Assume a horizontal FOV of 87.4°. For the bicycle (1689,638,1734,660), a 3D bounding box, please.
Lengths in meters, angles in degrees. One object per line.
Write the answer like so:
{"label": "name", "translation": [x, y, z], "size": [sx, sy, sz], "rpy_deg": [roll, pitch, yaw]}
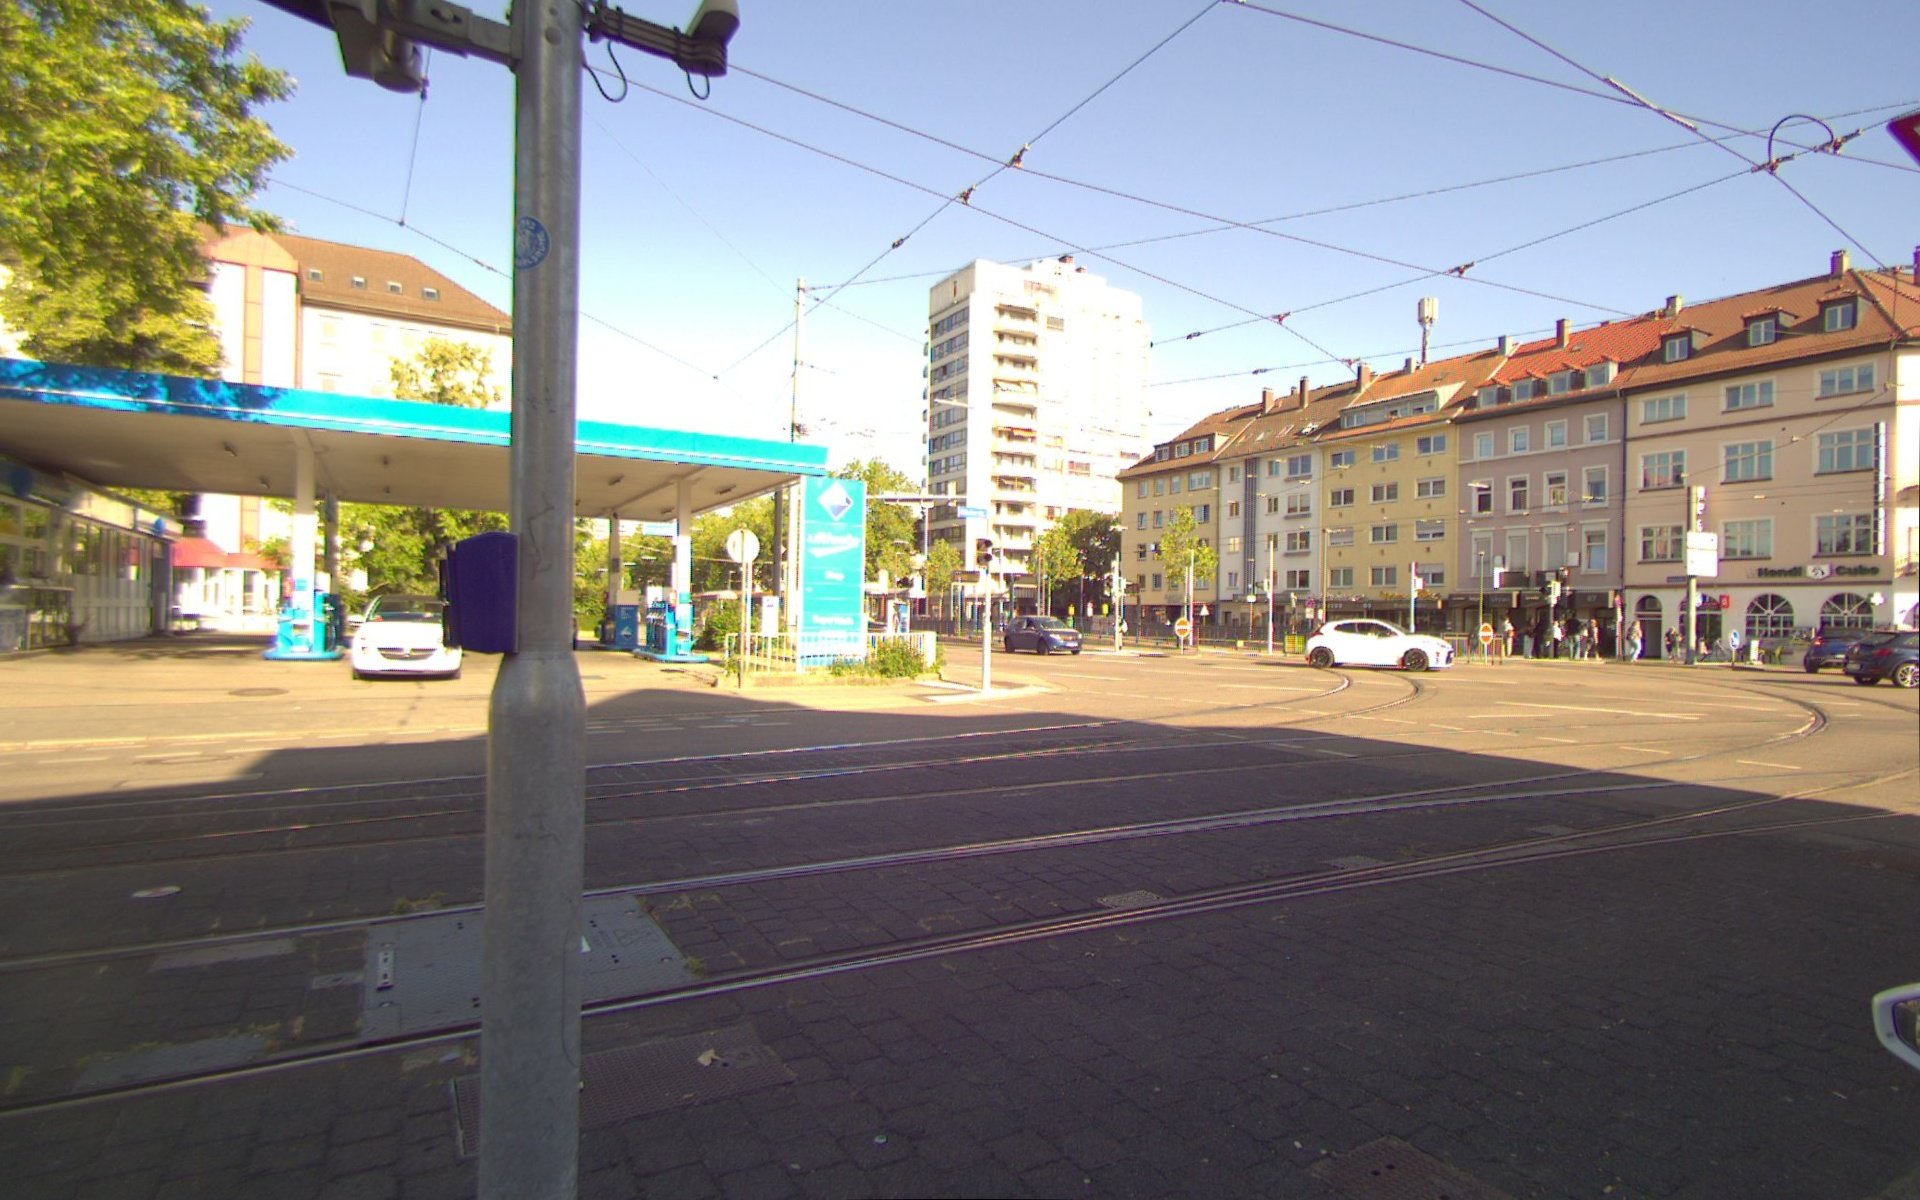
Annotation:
{"label": "bicycle", "translation": [37.833, 2.467, 50.597], "size": [0.603, 0.996, 1.693], "rpy_deg": [2, 0, -29]}

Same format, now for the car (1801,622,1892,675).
{"label": "car", "translation": [29.128, 1.550, 32.965], "size": [4.168, 1.596, 1.808], "rpy_deg": [1, -1, -42]}

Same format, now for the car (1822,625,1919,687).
{"label": "car", "translation": [23.517, 1.350, 24.061], "size": [3.919, 1.422, 1.832], "rpy_deg": [1, -1, 16]}

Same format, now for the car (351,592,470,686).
{"label": "car", "translation": [-10.191, 0.656, 18.655], "size": [1.723, 1.455, 3.905], "rpy_deg": [2, 1, -29]}

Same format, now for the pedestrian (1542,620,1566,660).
{"label": "pedestrian", "translation": [25.105, 1.692, 42.443], "size": [0.719, 1.670, 0.570], "rpy_deg": [2, 0, -30]}

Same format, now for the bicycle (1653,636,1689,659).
{"label": "bicycle", "translation": [34.103, 2.297, 48.187], "size": [1.731, 1.044, 0.619], "rpy_deg": [2, 0, -25]}

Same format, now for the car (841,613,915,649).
{"label": "car", "translation": [-4.008, 1.481, 48.526], "size": [1.852, 1.623, 4.419], "rpy_deg": [1, -2, -30]}

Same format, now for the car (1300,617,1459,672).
{"label": "car", "translation": [12.113, 1.238, 29.048], "size": [3.942, 1.473, 1.892], "rpy_deg": [-1, -1, 35]}

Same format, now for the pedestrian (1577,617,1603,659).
{"label": "pedestrian", "translation": [25.841, 1.547, 41.208], "size": [0.831, 1.670, 0.579], "rpy_deg": [2, 0, -30]}

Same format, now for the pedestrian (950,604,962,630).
{"label": "pedestrian", "translation": [-0.327, 1.432, 84.804], "size": [0.729, 2.127, 0.880], "rpy_deg": [2, 0, -21]}

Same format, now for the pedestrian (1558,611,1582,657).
{"label": "pedestrian", "translation": [24.628, 1.375, 40.565], "size": [0.669, 1.847, 0.524], "rpy_deg": [2, 0, -30]}

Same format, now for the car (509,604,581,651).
{"label": "car", "translation": [-13.522, 0.864, 32.649], "size": [1.659, 1.372, 3.559], "rpy_deg": [2, 0, -31]}

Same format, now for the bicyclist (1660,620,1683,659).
{"label": "bicyclist", "translation": [34.136, 1.900, 48.195], "size": [0.606, 1.814, 0.619], "rpy_deg": [2, 0, -25]}

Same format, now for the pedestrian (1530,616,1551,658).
{"label": "pedestrian", "translation": [23.774, 1.516, 41.139], "size": [0.492, 1.670, 0.520], "rpy_deg": [2, 0, -30]}

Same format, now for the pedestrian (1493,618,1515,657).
{"label": "pedestrian", "translation": [23.910, 1.656, 44.145], "size": [0.609, 1.670, 0.581], "rpy_deg": [2, 0, -30]}

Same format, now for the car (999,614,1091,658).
{"label": "car", "translation": [3.319, 1.390, 39.870], "size": [1.768, 1.524, 3.891], "rpy_deg": [-3, 1, -28]}

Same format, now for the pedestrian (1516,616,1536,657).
{"label": "pedestrian", "translation": [23.493, 1.510, 41.689], "size": [0.492, 1.670, 0.520], "rpy_deg": [2, 0, -30]}

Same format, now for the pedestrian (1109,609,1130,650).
{"label": "pedestrian", "translation": [6.521, 1.211, 40.971], "size": [0.750, 1.631, 0.613], "rpy_deg": [2, 0, 15]}

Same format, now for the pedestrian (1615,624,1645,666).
{"label": "pedestrian", "translation": [26.517, 1.780, 39.761], "size": [0.805, 1.615, 0.665], "rpy_deg": [2, 0, -30]}

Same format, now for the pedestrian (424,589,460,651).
{"label": "pedestrian", "translation": [-14.590, 0.571, 28.270], "size": [0.838, 1.724, 0.644], "rpy_deg": [2, -3, -31]}
